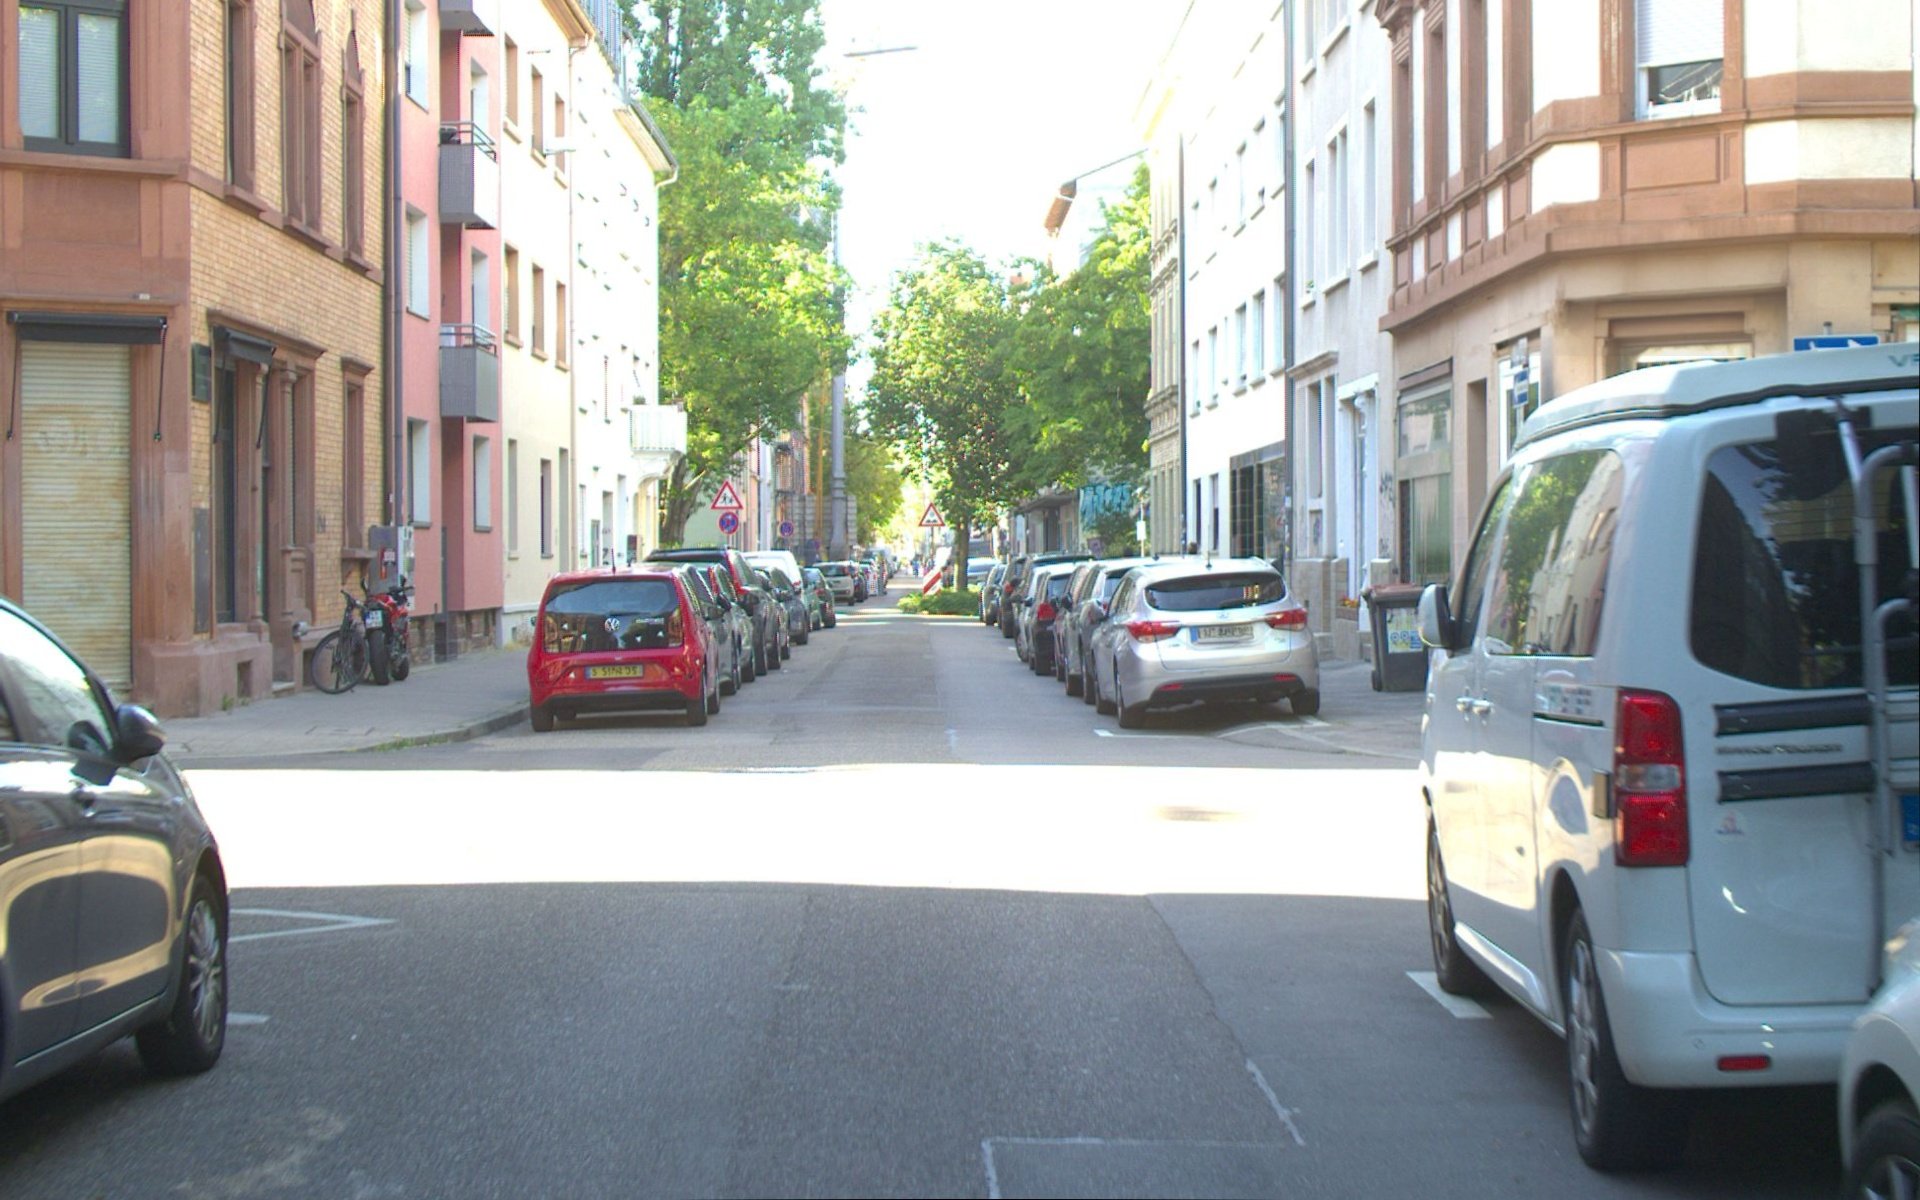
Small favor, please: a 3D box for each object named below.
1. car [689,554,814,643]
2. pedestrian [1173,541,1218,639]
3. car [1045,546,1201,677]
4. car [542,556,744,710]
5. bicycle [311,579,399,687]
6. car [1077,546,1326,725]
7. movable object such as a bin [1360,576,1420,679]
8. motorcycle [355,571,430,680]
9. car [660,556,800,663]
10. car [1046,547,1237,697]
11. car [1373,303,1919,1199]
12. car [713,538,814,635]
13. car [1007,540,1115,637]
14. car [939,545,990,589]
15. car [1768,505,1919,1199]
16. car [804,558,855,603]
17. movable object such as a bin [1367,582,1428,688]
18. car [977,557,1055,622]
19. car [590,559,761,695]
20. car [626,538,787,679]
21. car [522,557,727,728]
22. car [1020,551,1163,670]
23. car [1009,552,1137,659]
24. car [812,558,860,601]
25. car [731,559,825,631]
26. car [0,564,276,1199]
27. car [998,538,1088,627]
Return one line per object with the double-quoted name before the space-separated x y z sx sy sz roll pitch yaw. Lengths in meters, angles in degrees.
"car" -3.755 -0.052 62.492 1.674 1.481 3.991 -2 1 5
"pedestrian" 4.028 -0.183 58.867 0.685 1.654 0.717 -1 1 -1
"car" 1.979 0.107 42.801 1.598 1.501 4.185 -2 1 -1
"car" -3.404 0.313 37.542 1.695 1.516 4.096 -2 1 1
"bicycle" -6.410 0.332 36.514 0.533 1.070 1.891 4 1 0
"car" 2.191 0.281 32.280 1.743 1.501 4.358 -2 1 -3
"movable object such as a bin" 4.443 0.284 35.513 0.514 1.036 0.594 -2 1 0
"motorcycle" -6.421 0.273 38.933 0.533 1.201 1.908 0 1 0
"car" -3.509 0.109 53.070 1.743 1.501 4.346 -2 1 1
"car" 1.944 0.194 37.809 1.744 1.501 4.021 -2 1 -1
"car" 2.425 0.291 10.012 1.914 1.991 4.792 -2 1 1
"car" -3.808 -0.290 67.021 1.765 1.779 4.039 -2 1 -1
"car" 1.848 -0.227 64.054 1.676 1.621 4.251 -4 1 -1
"car" 0.149 -1.173 122.516 1.676 1.482 3.638 -2 1 -1
"car" 2.423 0.643 4.455 1.719 1.565 3.829 0 1 -2
"car" -4.575 -0.687 121.210 1.676 1.482 4.095 -2 1 -1
"movable object such as a bin" 4.430 0.349 34.822 0.514 1.036 0.619 -2 1 0
"car" 1.336 -0.277 83.585 1.676 1.482 4.095 -2 1 -1
"car" -3.453 0.296 42.365 1.656 1.516 3.944 -2 1 1
"car" -3.475 0.075 47.860 1.743 1.805 4.672 -2 1 1
"car" -3.147 0.359 32.774 1.628 1.476 3.601 -2 1 -1
"car" 1.774 0.109 47.344 1.676 1.501 3.938 -2 1 -1
"car" 1.687 0.052 52.432 1.676 1.501 3.938 -2 1 -1
"car" -4.556 -0.771 126.463 1.676 1.482 4.095 -2 1 -1
"car" -3.995 -0.129 75.901 1.670 1.464 3.820 -2 1 3
"car" -3.014 0.682 8.978 1.692 1.476 3.973 -2 1 -1
"car" 1.636 -0.341 69.000 1.676 1.676 4.094 -2 0 0
